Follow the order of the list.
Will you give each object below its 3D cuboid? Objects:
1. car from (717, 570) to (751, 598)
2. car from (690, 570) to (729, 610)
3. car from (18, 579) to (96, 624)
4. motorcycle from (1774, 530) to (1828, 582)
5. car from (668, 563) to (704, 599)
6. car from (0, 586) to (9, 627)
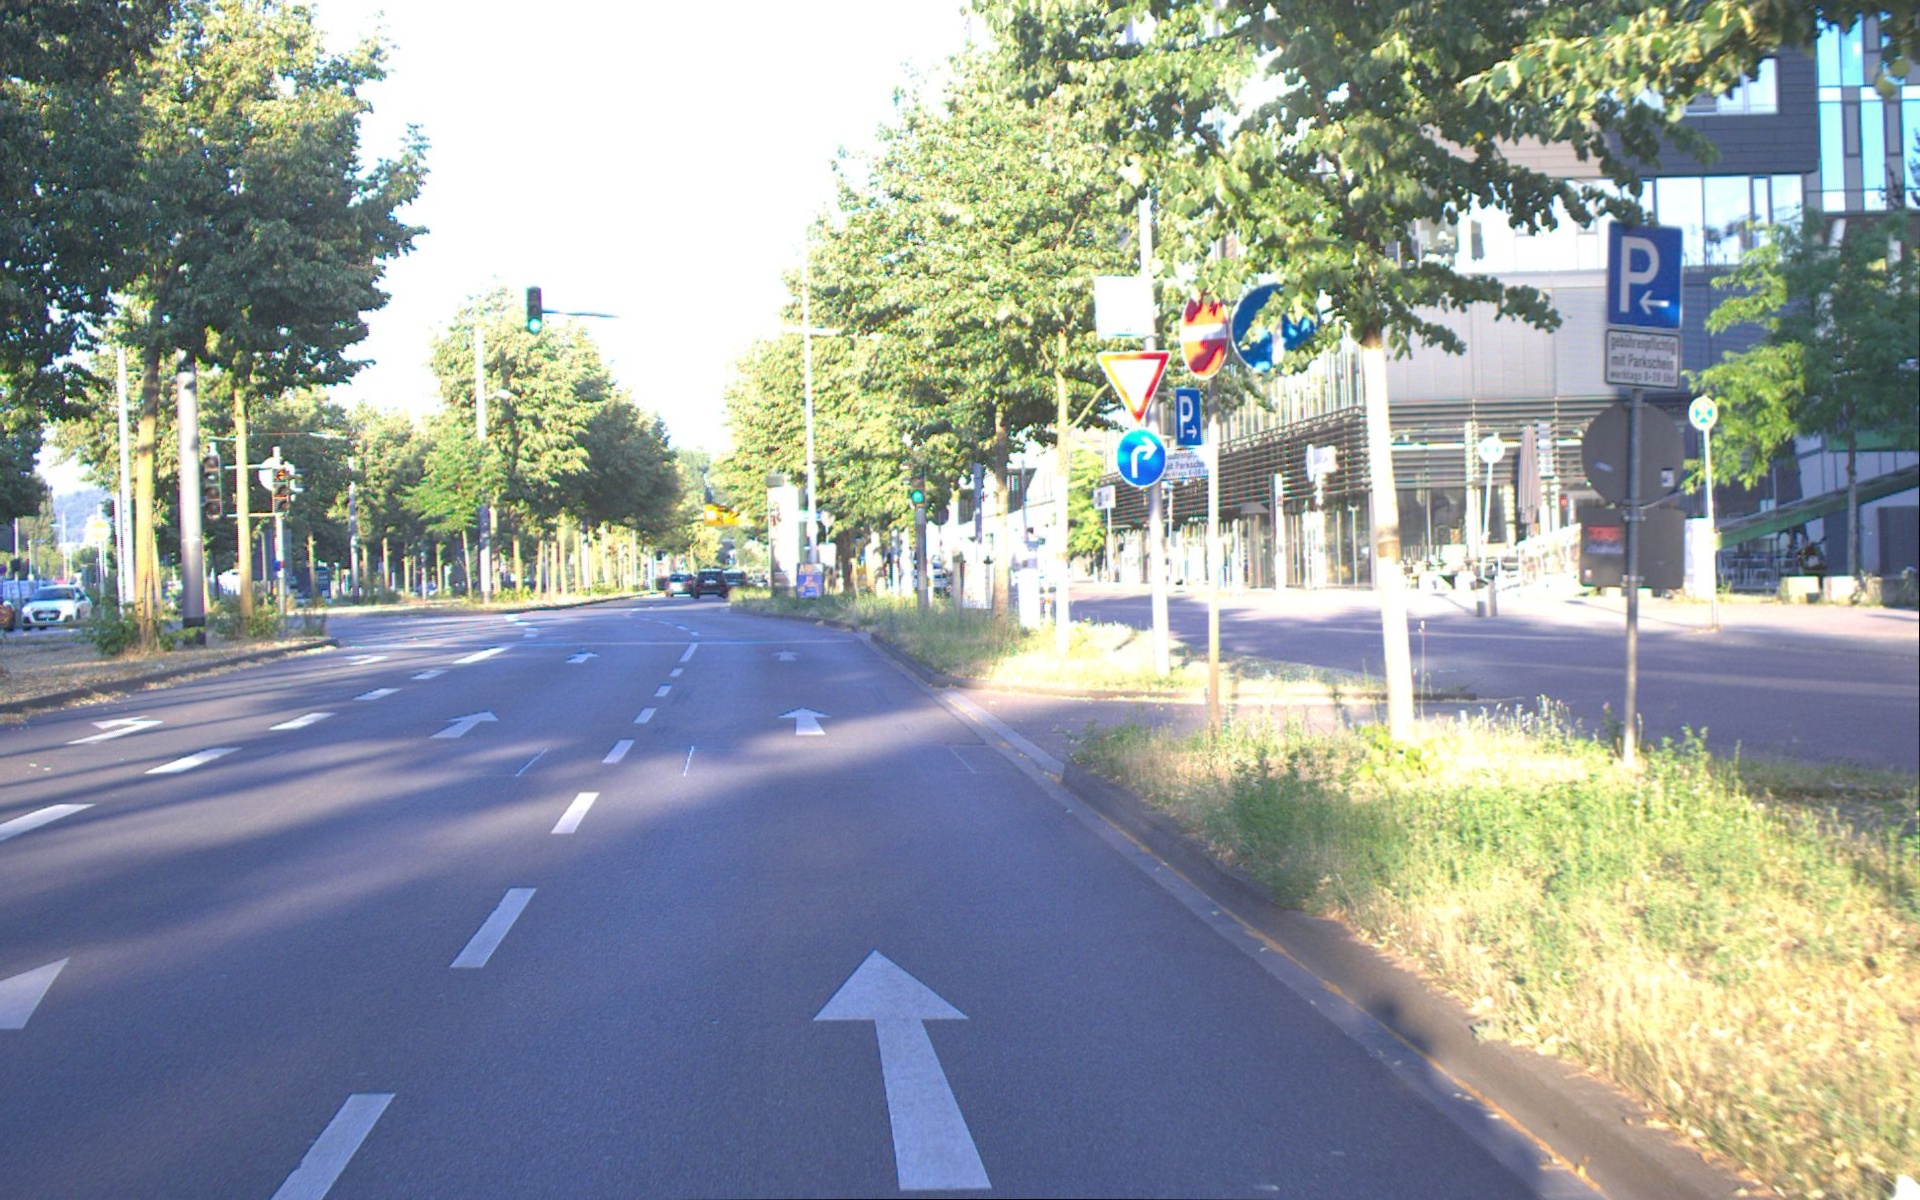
[{"bbox_3d":[-13.348,-0.944,203.150,1.872,1.568,3.677,-1,1,-2],"label":"car"},{"bbox_3d":[-13.183,-0.548,180.881,1.993,2.007,4.001,-2,1,-4],"label":"car"},{"bbox_3d":[-28.794,0.033,109.674,1.786,1.327,3.672,-2,1,-5],"label":"car"},{"bbox_3d":[18.143,-0.947,74.229,0.650,1.090,2.332,-2,1,2],"label":"motorcycle"},{"bbox_3d":[-16.342,-1.136,205.086,2.087,2.007,4.001,-2,1,-4],"label":"car"},{"bbox_3d":[-32.406,0.256,112.545,1.656,1.327,4.528,-1,1,-5],"label":"car"}]
